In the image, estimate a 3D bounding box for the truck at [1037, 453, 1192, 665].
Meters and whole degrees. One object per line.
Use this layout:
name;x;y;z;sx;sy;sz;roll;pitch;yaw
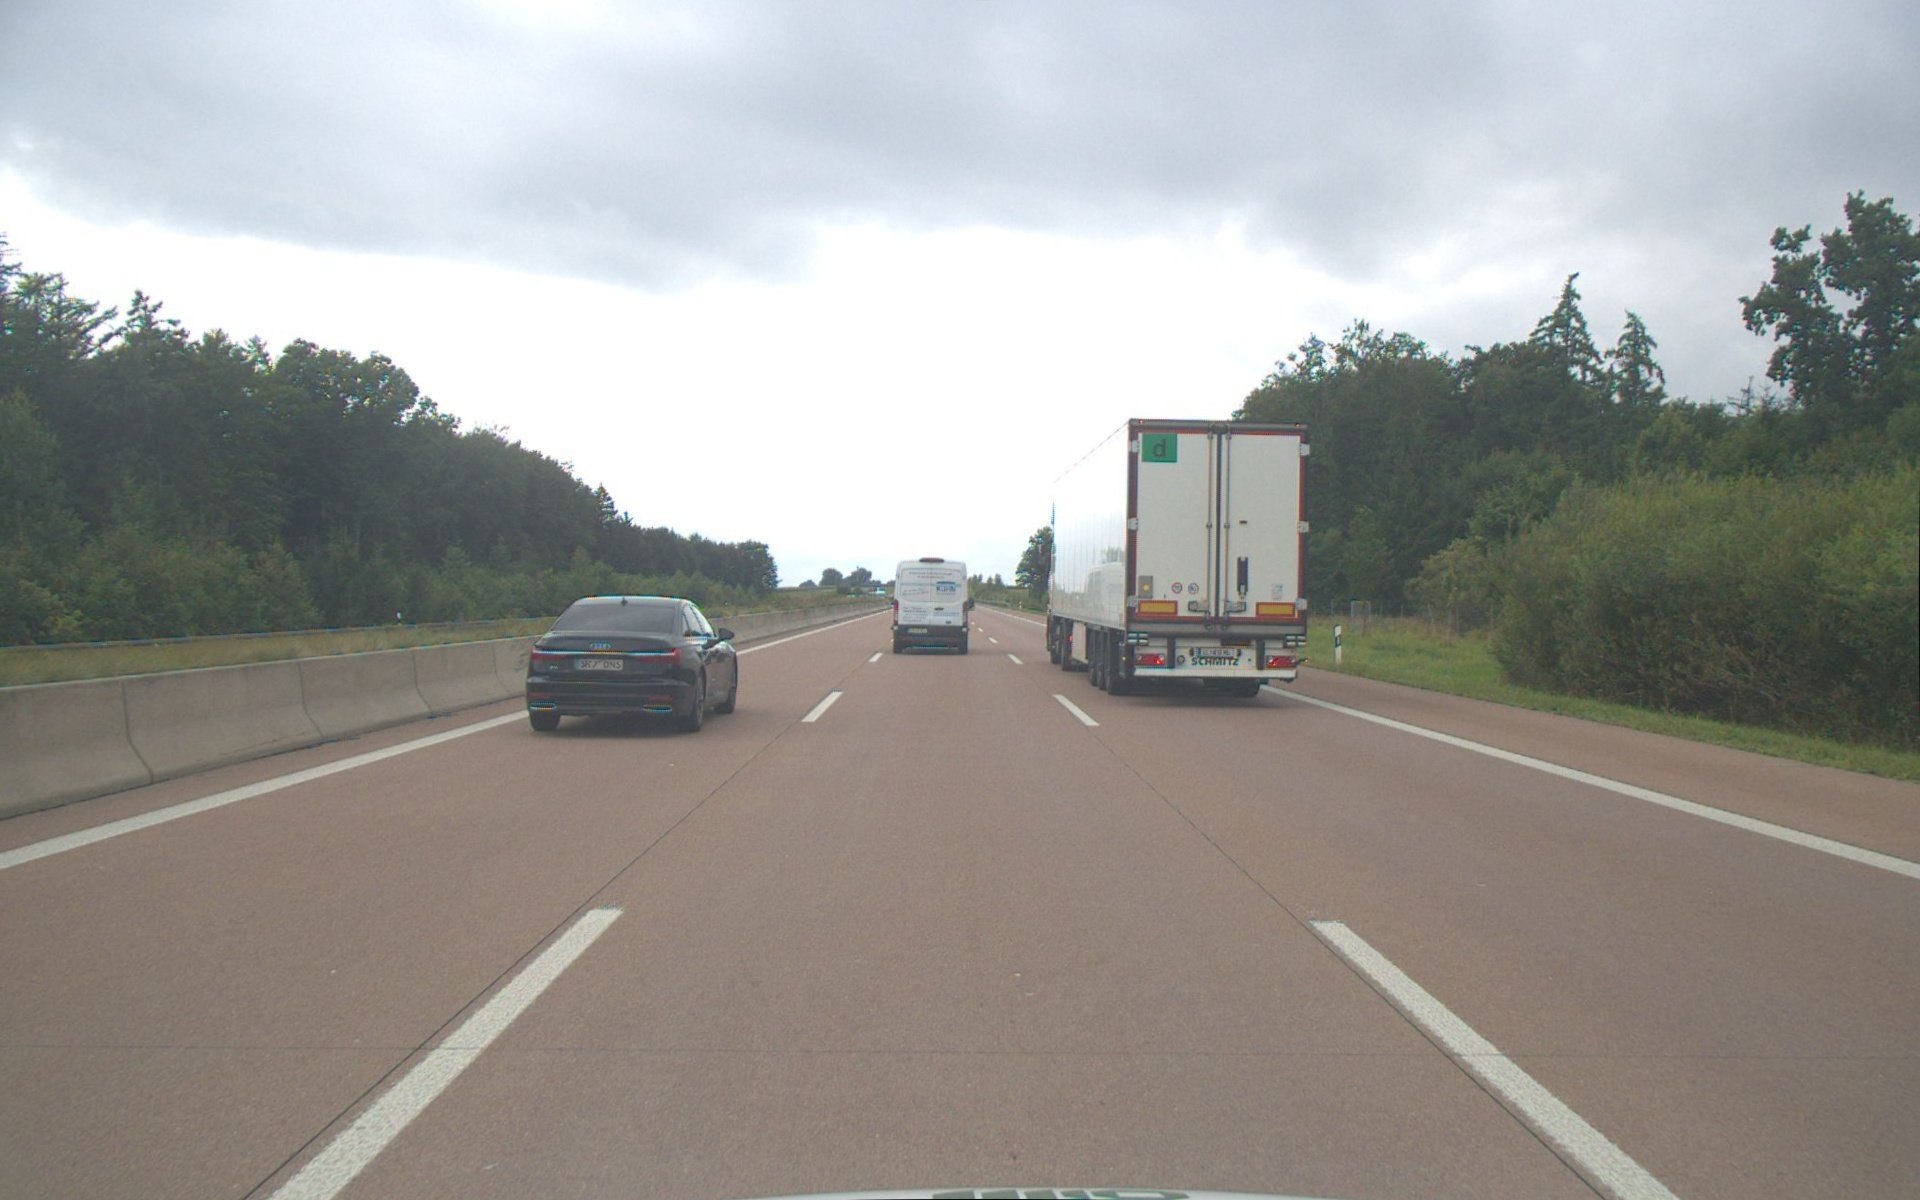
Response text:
truck;3.328;-0.852;36.974;2.862;4.369;5.333;0;0;-1

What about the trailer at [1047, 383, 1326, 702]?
trailer;3.475;-0.804;29.576;2.862;4.369;13.610;0;0;-1

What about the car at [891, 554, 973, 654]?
car;-0.743;0.052;45.907;2.094;2.551;7.131;0;1;0

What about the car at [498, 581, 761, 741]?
car;-3.687;0.594;19.590;2.043;1.577;5.673;1;0;-1
